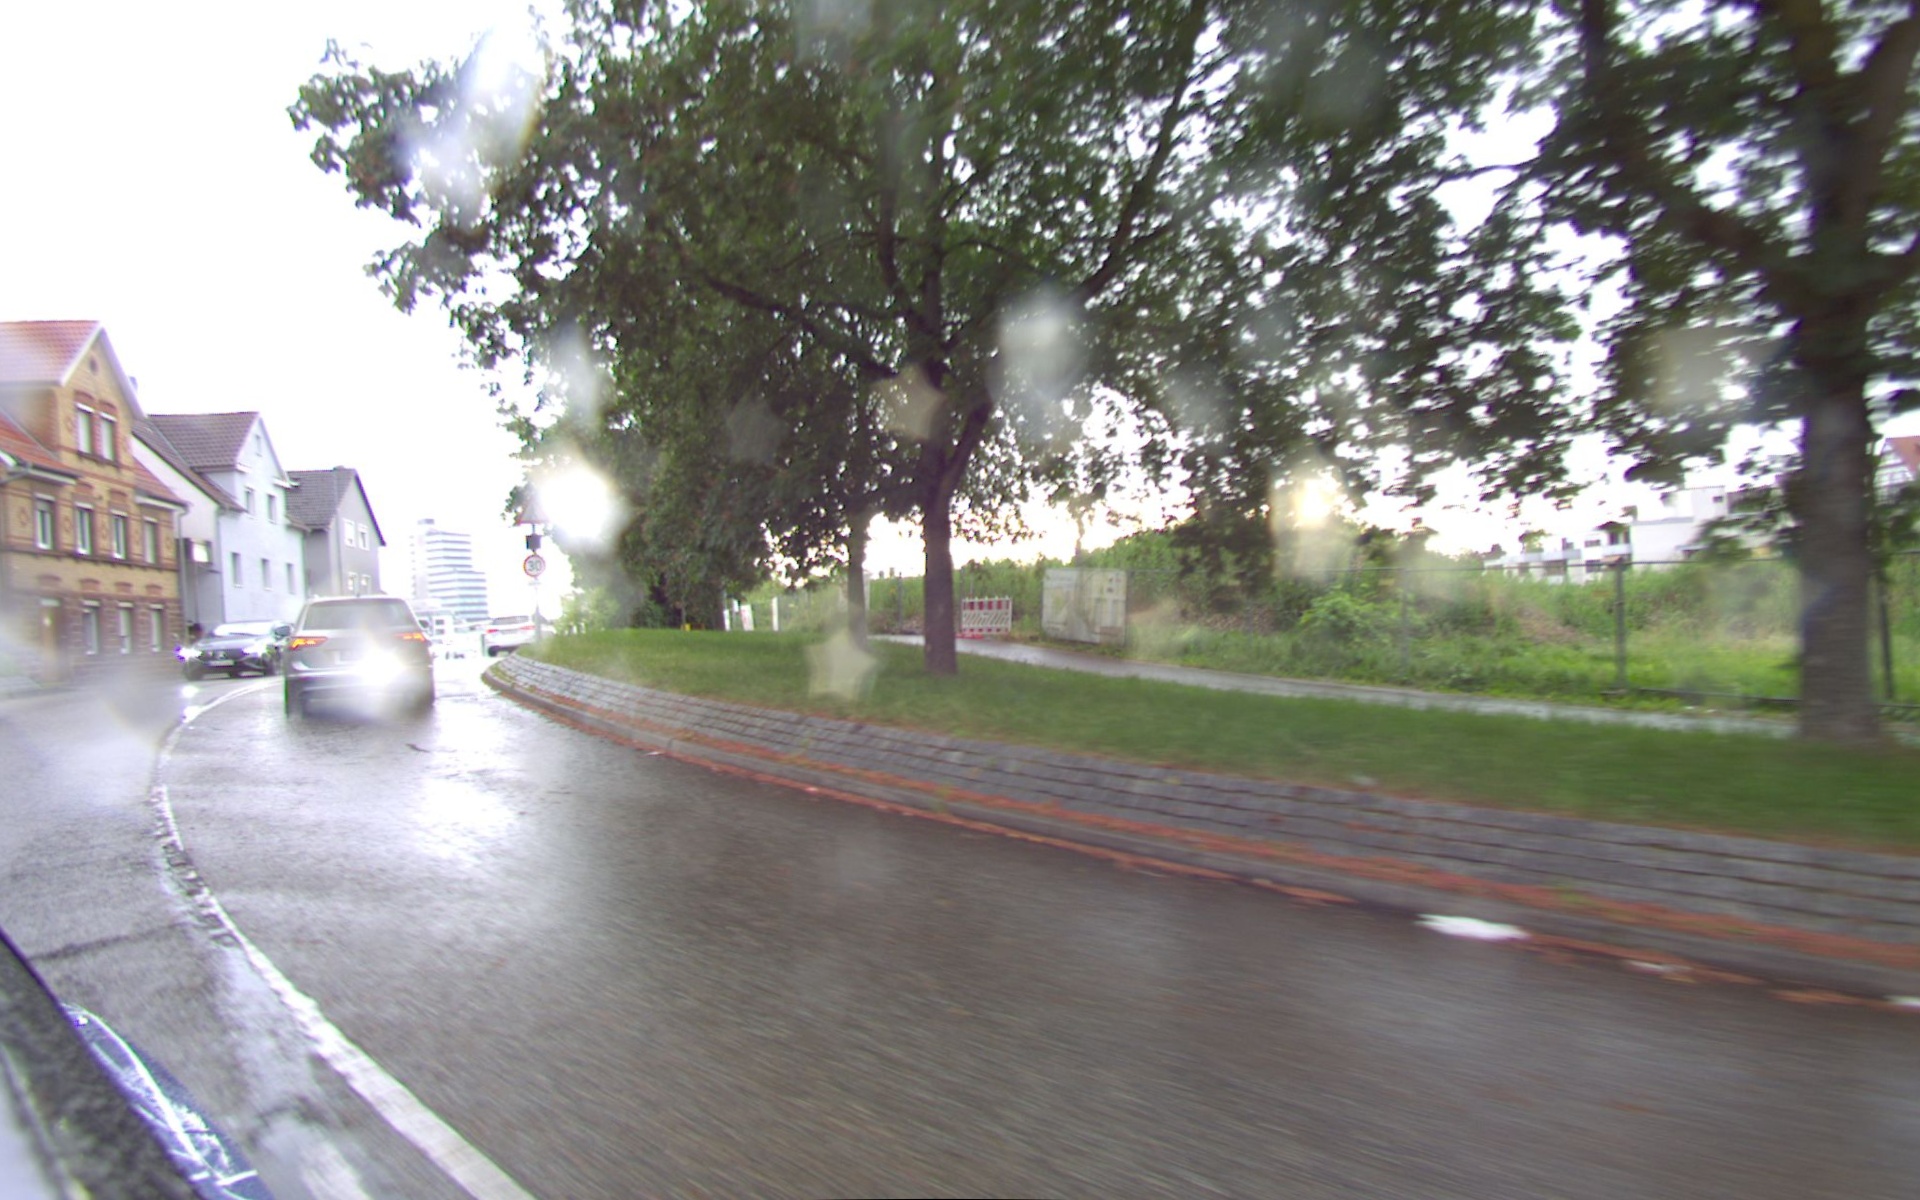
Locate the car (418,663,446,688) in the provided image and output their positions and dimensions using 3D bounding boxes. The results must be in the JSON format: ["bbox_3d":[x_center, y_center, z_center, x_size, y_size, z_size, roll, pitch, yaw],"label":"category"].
[{"bbox_3d":[-52.136,7.478,99.891,1.997,1.951,4.958,-4,-5,-31],"label":"car"}]

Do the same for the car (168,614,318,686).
[{"bbox_3d":[-18.856,1.342,26.894,1.808,1.525,4.862,-6,-1,-19],"label":"car"}]

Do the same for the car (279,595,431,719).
[{"bbox_3d":[-9.011,0.757,14.982,1.704,1.555,4.312,0,-1,-33],"label":"car"}]

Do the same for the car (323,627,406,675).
[{"bbox_3d":[-21.559,1.894,36.825,1.761,1.357,4.959,-5,-4,-21],"label":"car"}]

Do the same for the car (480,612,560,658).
[{"bbox_3d":[-16.091,1.232,37.240,1.701,1.516,4.267,-3,0,-10],"label":"car"}]
